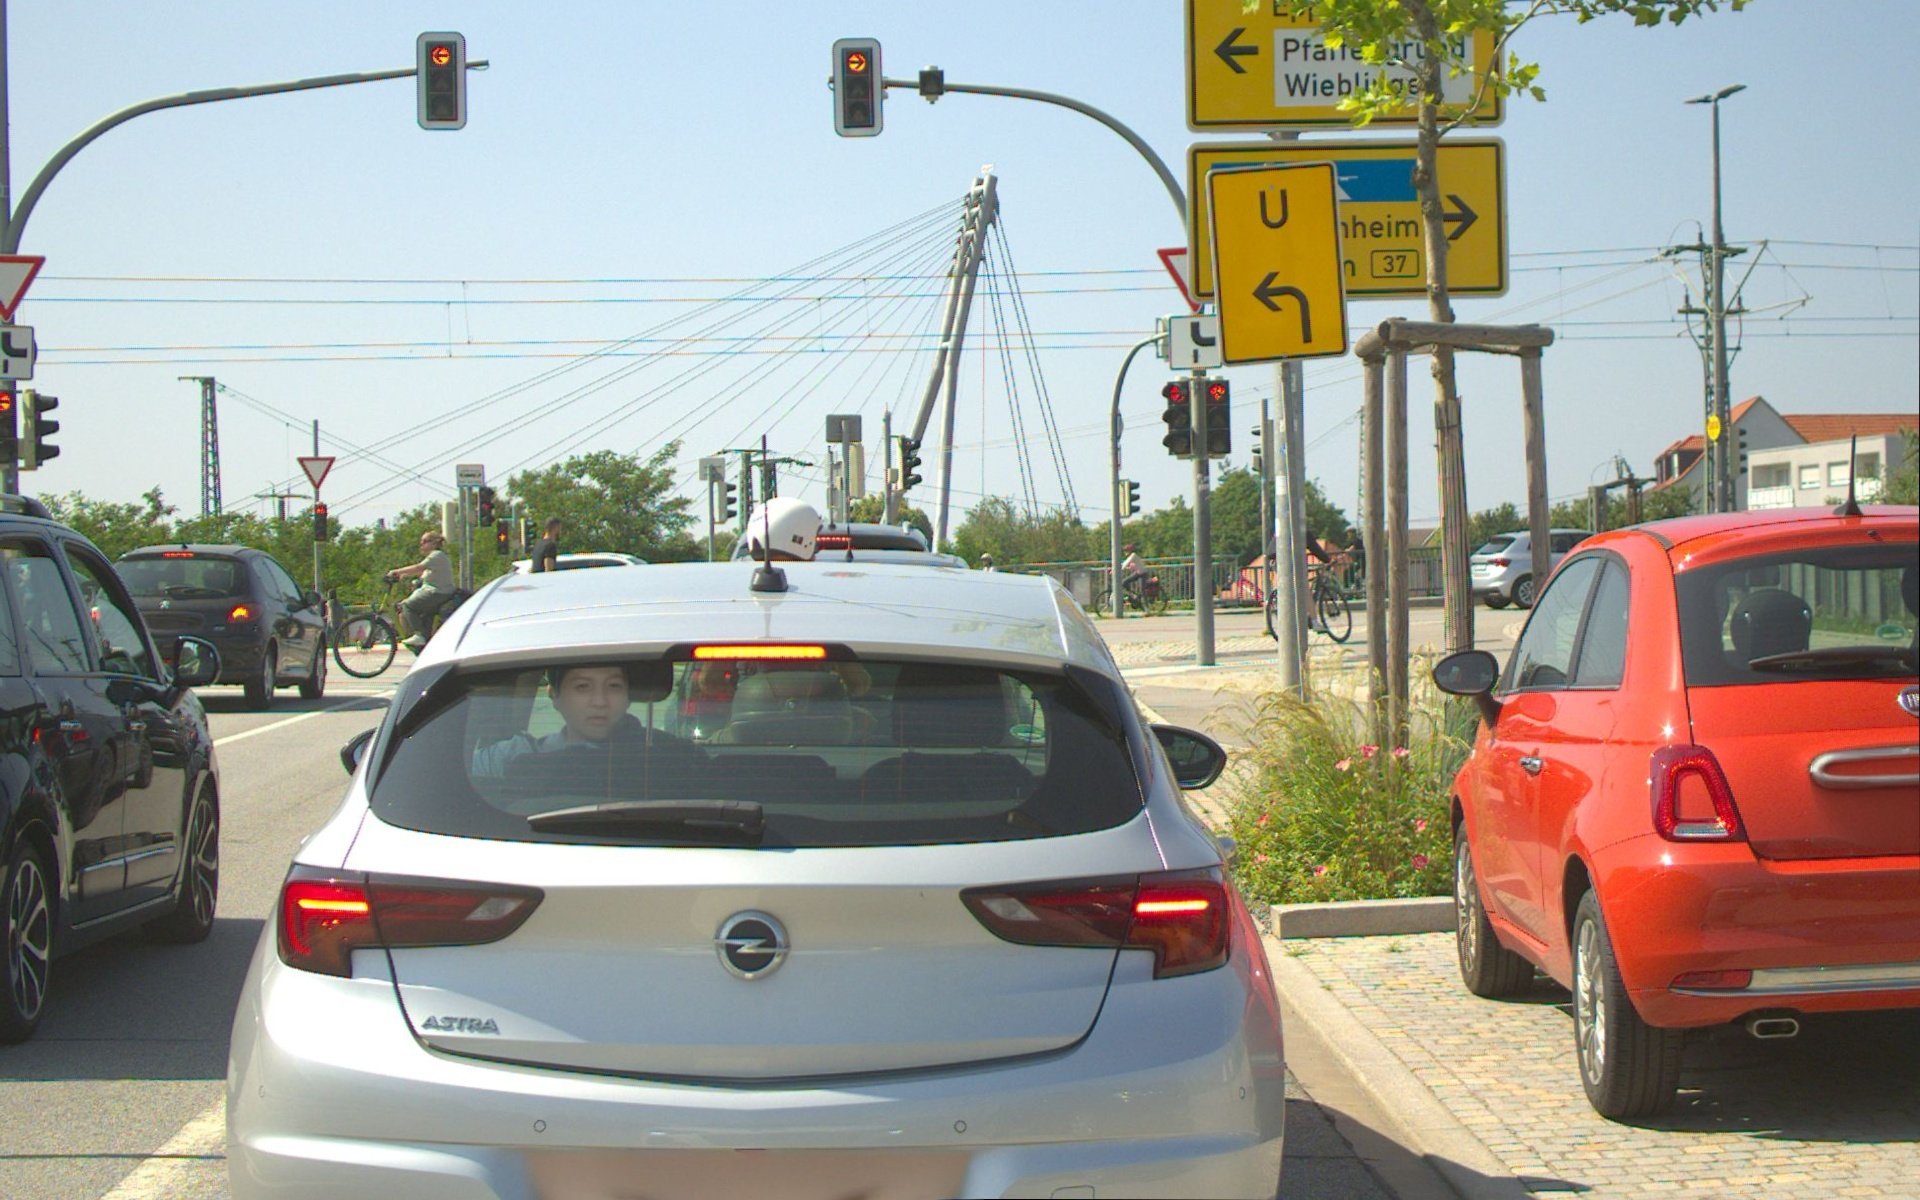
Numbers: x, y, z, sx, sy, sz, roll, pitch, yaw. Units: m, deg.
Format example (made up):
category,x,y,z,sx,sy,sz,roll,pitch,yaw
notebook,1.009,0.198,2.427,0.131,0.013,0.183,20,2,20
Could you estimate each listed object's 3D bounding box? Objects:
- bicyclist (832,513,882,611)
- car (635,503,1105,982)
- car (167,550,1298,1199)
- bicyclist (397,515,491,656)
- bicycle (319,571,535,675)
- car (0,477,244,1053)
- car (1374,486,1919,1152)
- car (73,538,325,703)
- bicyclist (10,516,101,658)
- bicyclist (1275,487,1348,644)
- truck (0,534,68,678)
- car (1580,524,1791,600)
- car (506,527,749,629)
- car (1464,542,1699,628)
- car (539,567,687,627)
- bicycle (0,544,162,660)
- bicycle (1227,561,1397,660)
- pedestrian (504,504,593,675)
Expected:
category,x,y,z,sx,sy,sz,roll,pitch,yaw
bicyclist,-1.707,-0.631,57.050,0.771,1.604,0.949,1,0,0
car,-0.363,0.504,14.102,1.634,1.668,3.745,1,0,-1
car,-0.386,0.660,7.294,1.690,1.514,4.271,0,1,-1
bicyclist,-5.861,-0.165,39.096,0.945,1.563,0.823,1,0,-2
bicycle,-6.040,0.261,39.056,2.357,1.123,0.677,1,0,-3
car,-3.629,0.456,11.313,1.803,1.616,3.917,0,0,-1
car,2.345,0.463,10.023,1.669,1.534,3.917,-2,1,-1
car,-6.776,0.169,30.897,1.587,1.390,3.340,0,0,-1
bicyclist,-10.091,-0.141,38.361,0.822,1.554,0.863,1,0,-5
bicyclist,4.244,-0.413,41.508,0.594,1.881,0.637,1,0,-28
truck,-18.681,0.079,61.918,4.697,2.532,1.999,1,0,15
car,16.472,-0.850,78.102,4.244,1.668,2.001,0,0,-18
car,-6.058,-0.408,62.849,4.035,1.808,1.931,1,0,10
car,11.631,-0.279,64.416,3.973,1.546,1.676,-1,0,-14
car,-7.648,-0.068,75.969,3.211,1.299,1.524,0,0,-3
bicycle,-10.277,0.050,38.335,2.524,1.130,0.728,-5,3,-6
bicycle,4.255,0.120,41.514,2.081,1.174,0.555,0,0,-28
pedestrian,-4.550,-0.114,37.985,0.740,1.857,0.754,1,0,-26
